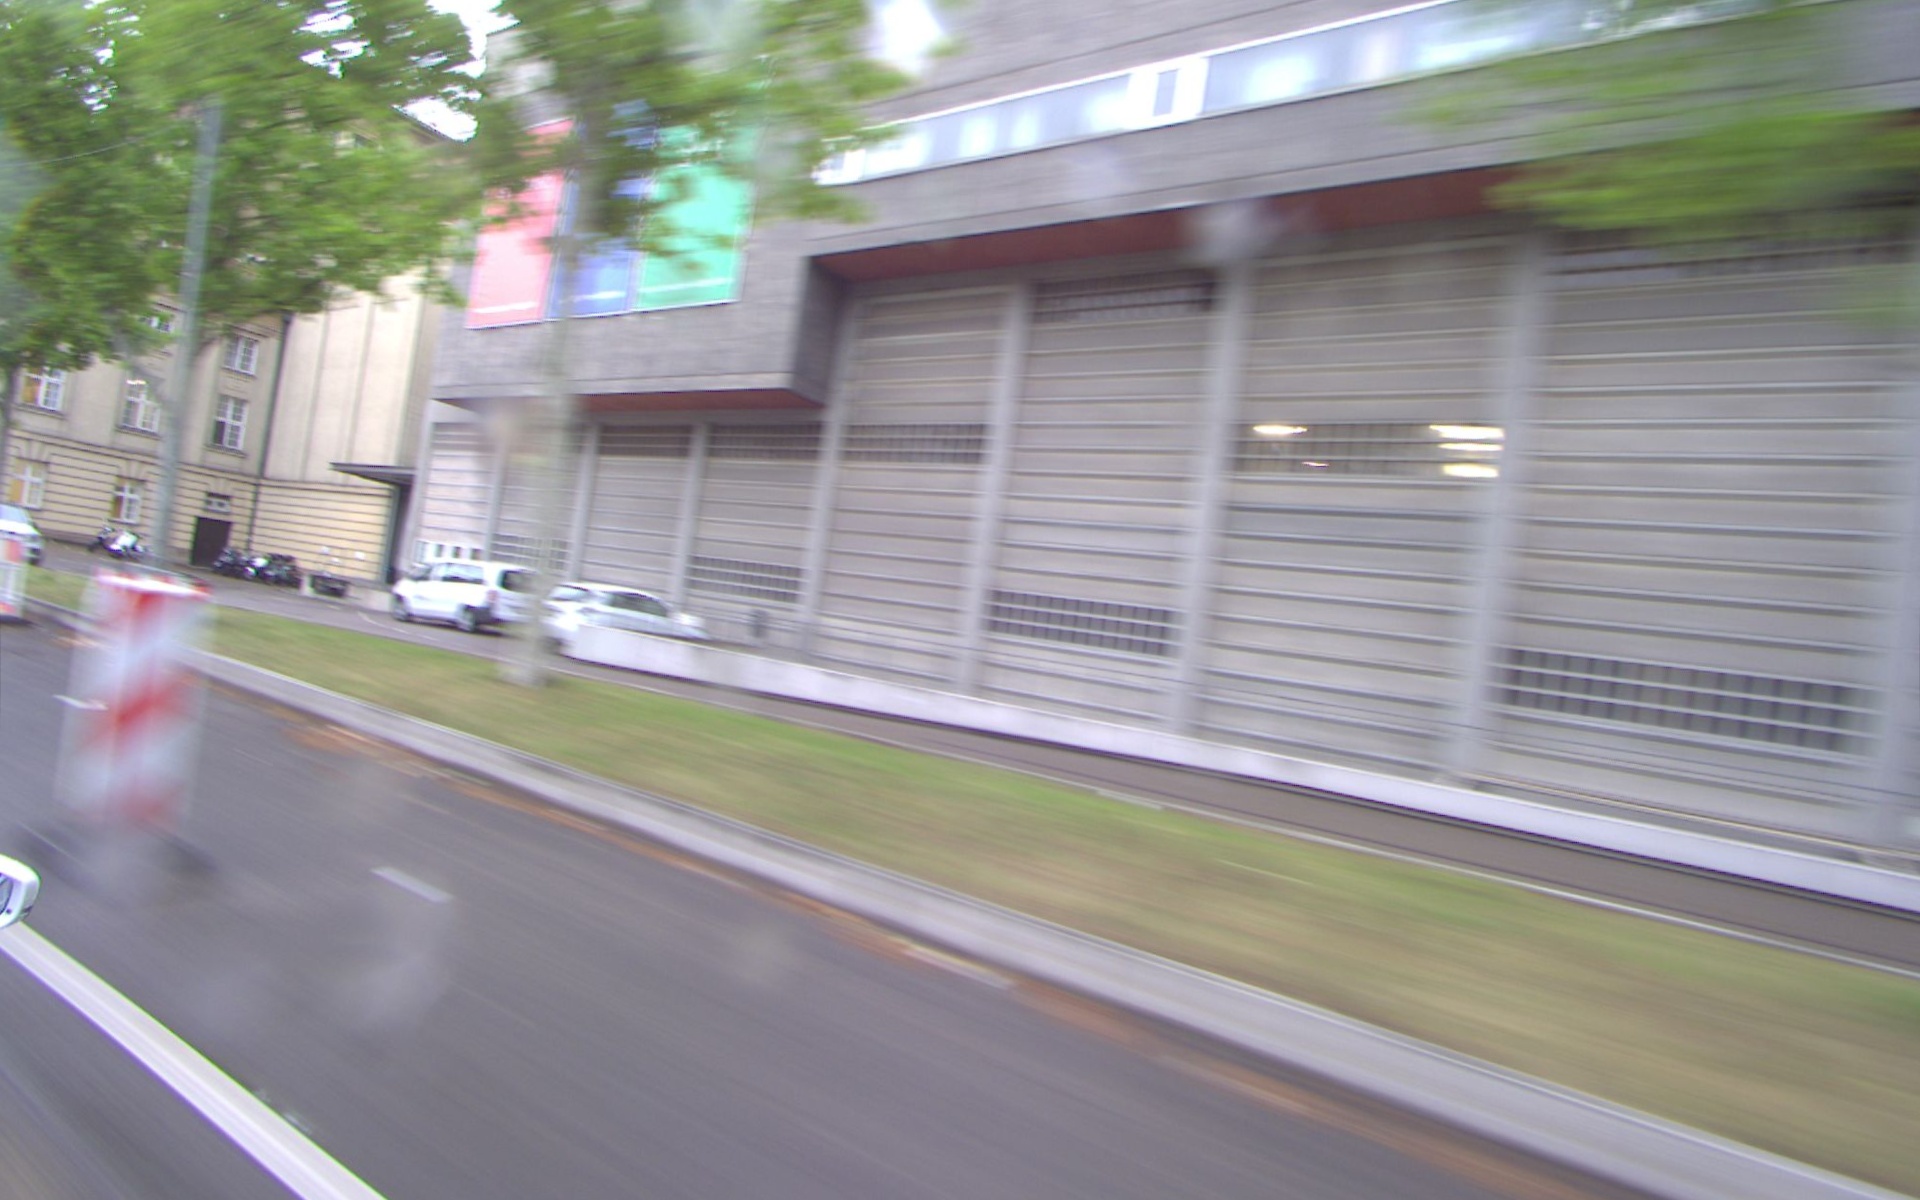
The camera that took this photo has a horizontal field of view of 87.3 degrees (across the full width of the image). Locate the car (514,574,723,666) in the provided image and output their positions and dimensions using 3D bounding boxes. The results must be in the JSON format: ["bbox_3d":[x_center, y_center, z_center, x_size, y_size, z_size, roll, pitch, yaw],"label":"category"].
[{"bbox_3d":[-7.477,0.499,22.377,1.903,1.577,3.993,4,-4,33],"label":"car"}]

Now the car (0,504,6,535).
[{"bbox_3d":[-38.518,-3.028,38.592,3.940,1.726,1.997,5,-5,38],"label":"car"}]

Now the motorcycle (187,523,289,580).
[{"bbox_3d":[-32.687,-2.170,45.631,1.134,2.035,3.356,5,-4,34],"label":"motorcycle"}]

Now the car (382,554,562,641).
[{"bbox_3d":[-13.421,-0.094,27.543,5.015,1.779,1.997,5,-3,34],"label":"car"}]

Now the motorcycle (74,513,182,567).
[{"bbox_3d":[-34.476,-2.465,41.758,0.876,1.558,3.168,5,-6,37],"label":"motorcycle"}]

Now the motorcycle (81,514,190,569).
[{"bbox_3d":[-33.676,-2.367,41.144,0.876,1.558,3.169,5,-6,35],"label":"motorcycle"}]

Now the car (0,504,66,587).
[{"bbox_3d":[-23.561,-1.502,24.343,3.939,1.726,1.997,7,-4,38],"label":"car"}]
